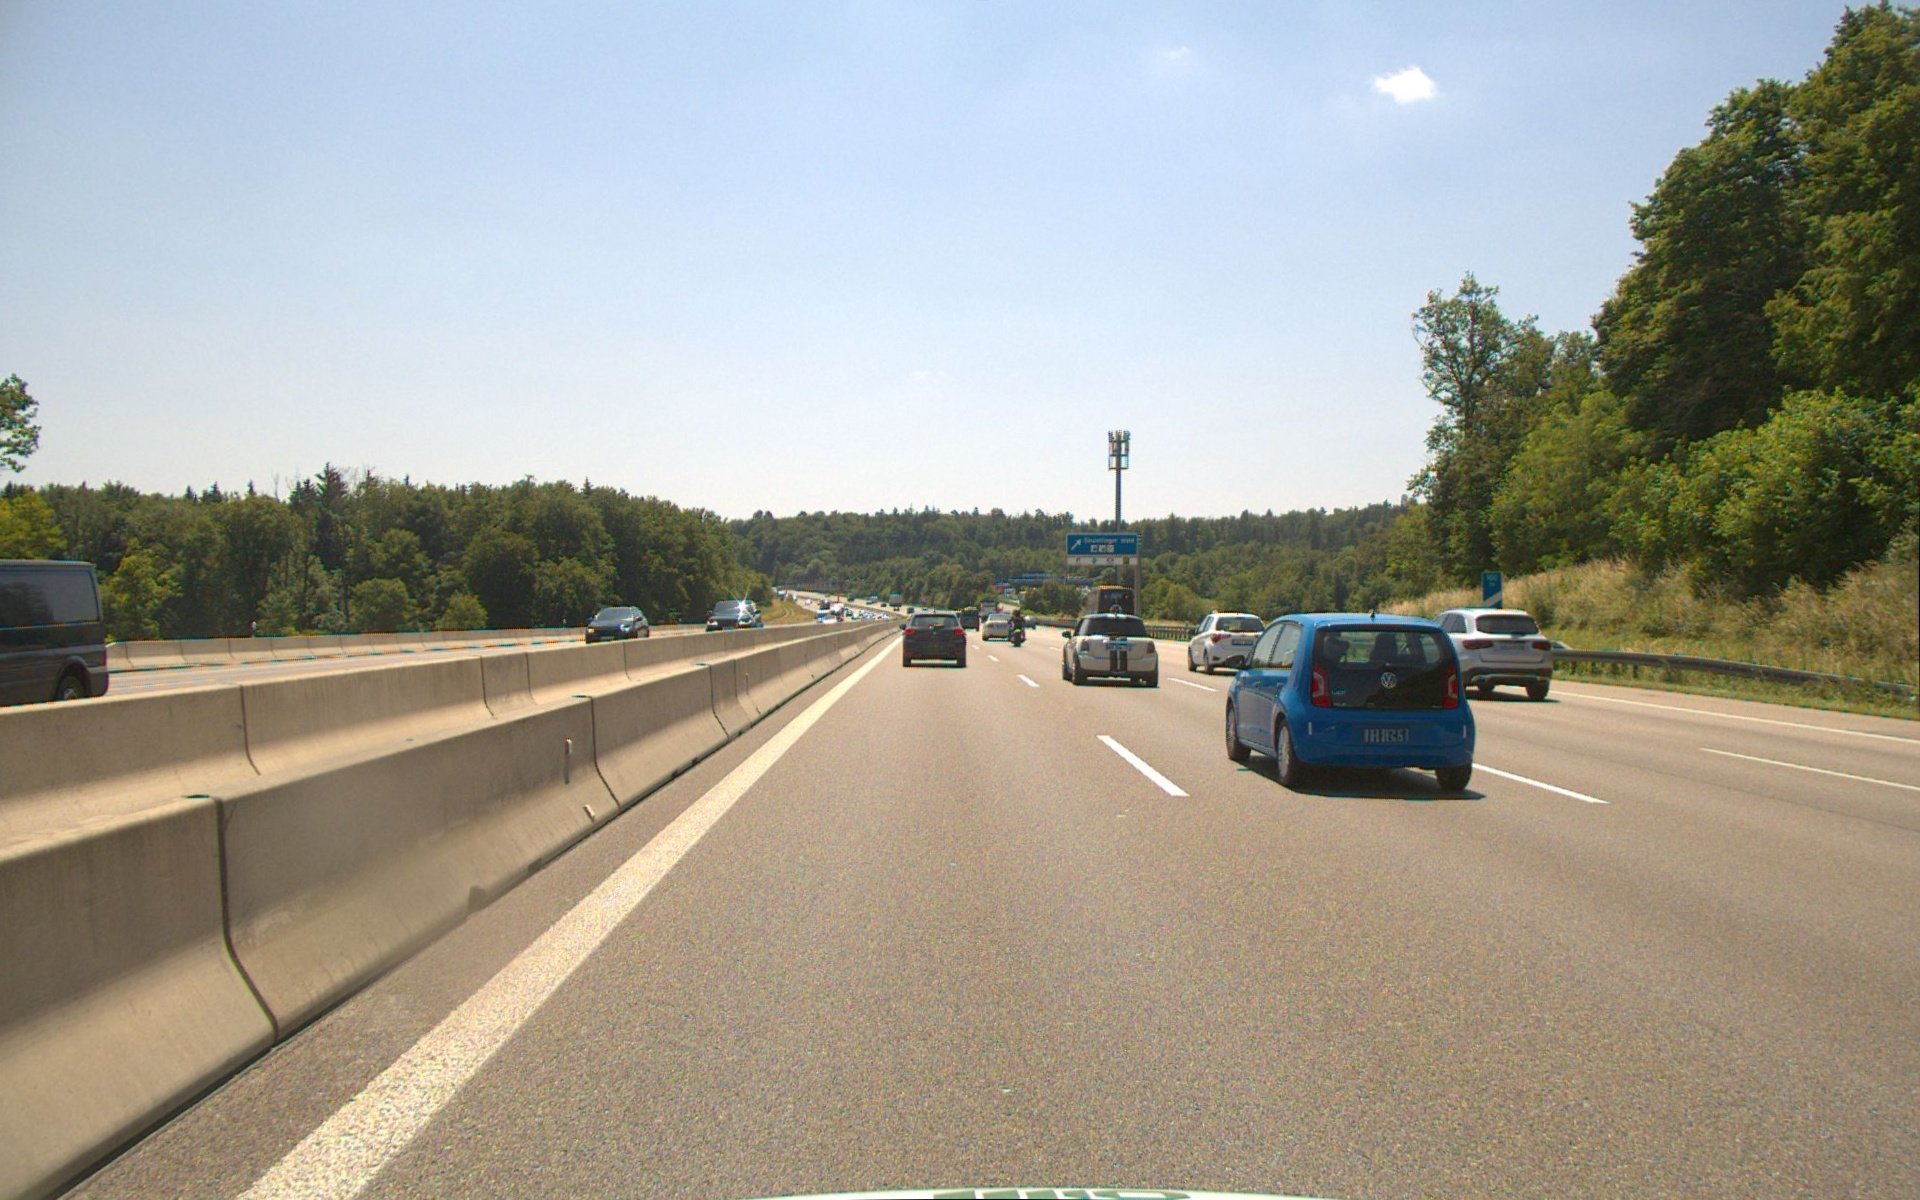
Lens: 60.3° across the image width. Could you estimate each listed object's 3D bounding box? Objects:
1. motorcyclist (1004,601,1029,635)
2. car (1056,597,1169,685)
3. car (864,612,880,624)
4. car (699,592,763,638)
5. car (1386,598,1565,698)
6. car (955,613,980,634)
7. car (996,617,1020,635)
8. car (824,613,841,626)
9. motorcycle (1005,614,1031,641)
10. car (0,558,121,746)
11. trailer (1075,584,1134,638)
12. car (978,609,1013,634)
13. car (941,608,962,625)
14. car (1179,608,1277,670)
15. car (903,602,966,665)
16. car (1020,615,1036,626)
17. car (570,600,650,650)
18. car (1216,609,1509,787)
[{"bbox_3d":[2.489,0.798,73.159,0.943,1.463,1.234,-1,-1,-3],"label":"motorcyclist"},{"bbox_3d":[3.045,0.828,33.802,1.804,1.579,3.999,4,-1,-1],"label":"car"},{"bbox_3d":[-10.791,2.249,202.607,1.802,1.466,4.842,0,-1,-2],"label":"car"},{"bbox_3d":[-9.300,0.604,67.410,1.953,1.702,5.279,-2,0,-2],"label":"car"},{"bbox_3d":[10.035,0.871,32.661,1.764,1.761,5.238,1,0,-1],"label":"car"},{"bbox_3d":[0.671,2.122,151.540,2.055,1.884,4.079,0,0,-2],"label":"car"},{"bbox_3d":[4.080,2.194,140.311,1.642,1.457,3.682,0,0,-4],"label":"car"},{"bbox_3d":[-14.896,2.236,192.949,1.802,1.466,3.998,0,-1,-2],"label":"car"},{"bbox_3d":[2.556,1.205,73.166,0.958,1.149,2.270,0,0,-2],"label":"motorcycle"},{"bbox_3d":[-11.474,0.570,18.480,1.954,2.049,4.809,0,0,-3],"label":"car"},{"bbox_3d":[10.454,0.882,121.076,2.799,3.752,13.537,-1,-1,-1],"label":"trailer"},{"bbox_3d":[1.930,1.165,90.150,1.746,1.287,3.459,0,0,-1],"label":"car"},{"bbox_3d":[-0.953,1.844,186.074,1.955,1.713,4.419,1,0,-5],"label":"car"},{"bbox_3d":[6.728,0.945,41.925,1.632,1.458,4.374,0,0,-2],"label":"car"},{"bbox_3d":[-0.672,0.846,43.821,1.591,1.513,3.684,1,1,-1],"label":"car"},{"bbox_3d":[7.952,2.421,193.289,1.576,1.233,3.458,-1,-1,-3],"label":"car"},{"bbox_3d":[-13.061,0.914,61.960,1.953,1.704,5.279,-2,0,-2],"label":"car"},{"bbox_3d":[3.575,0.806,15.410,1.702,1.436,3.999,0,0,-1],"label":"car"}]
